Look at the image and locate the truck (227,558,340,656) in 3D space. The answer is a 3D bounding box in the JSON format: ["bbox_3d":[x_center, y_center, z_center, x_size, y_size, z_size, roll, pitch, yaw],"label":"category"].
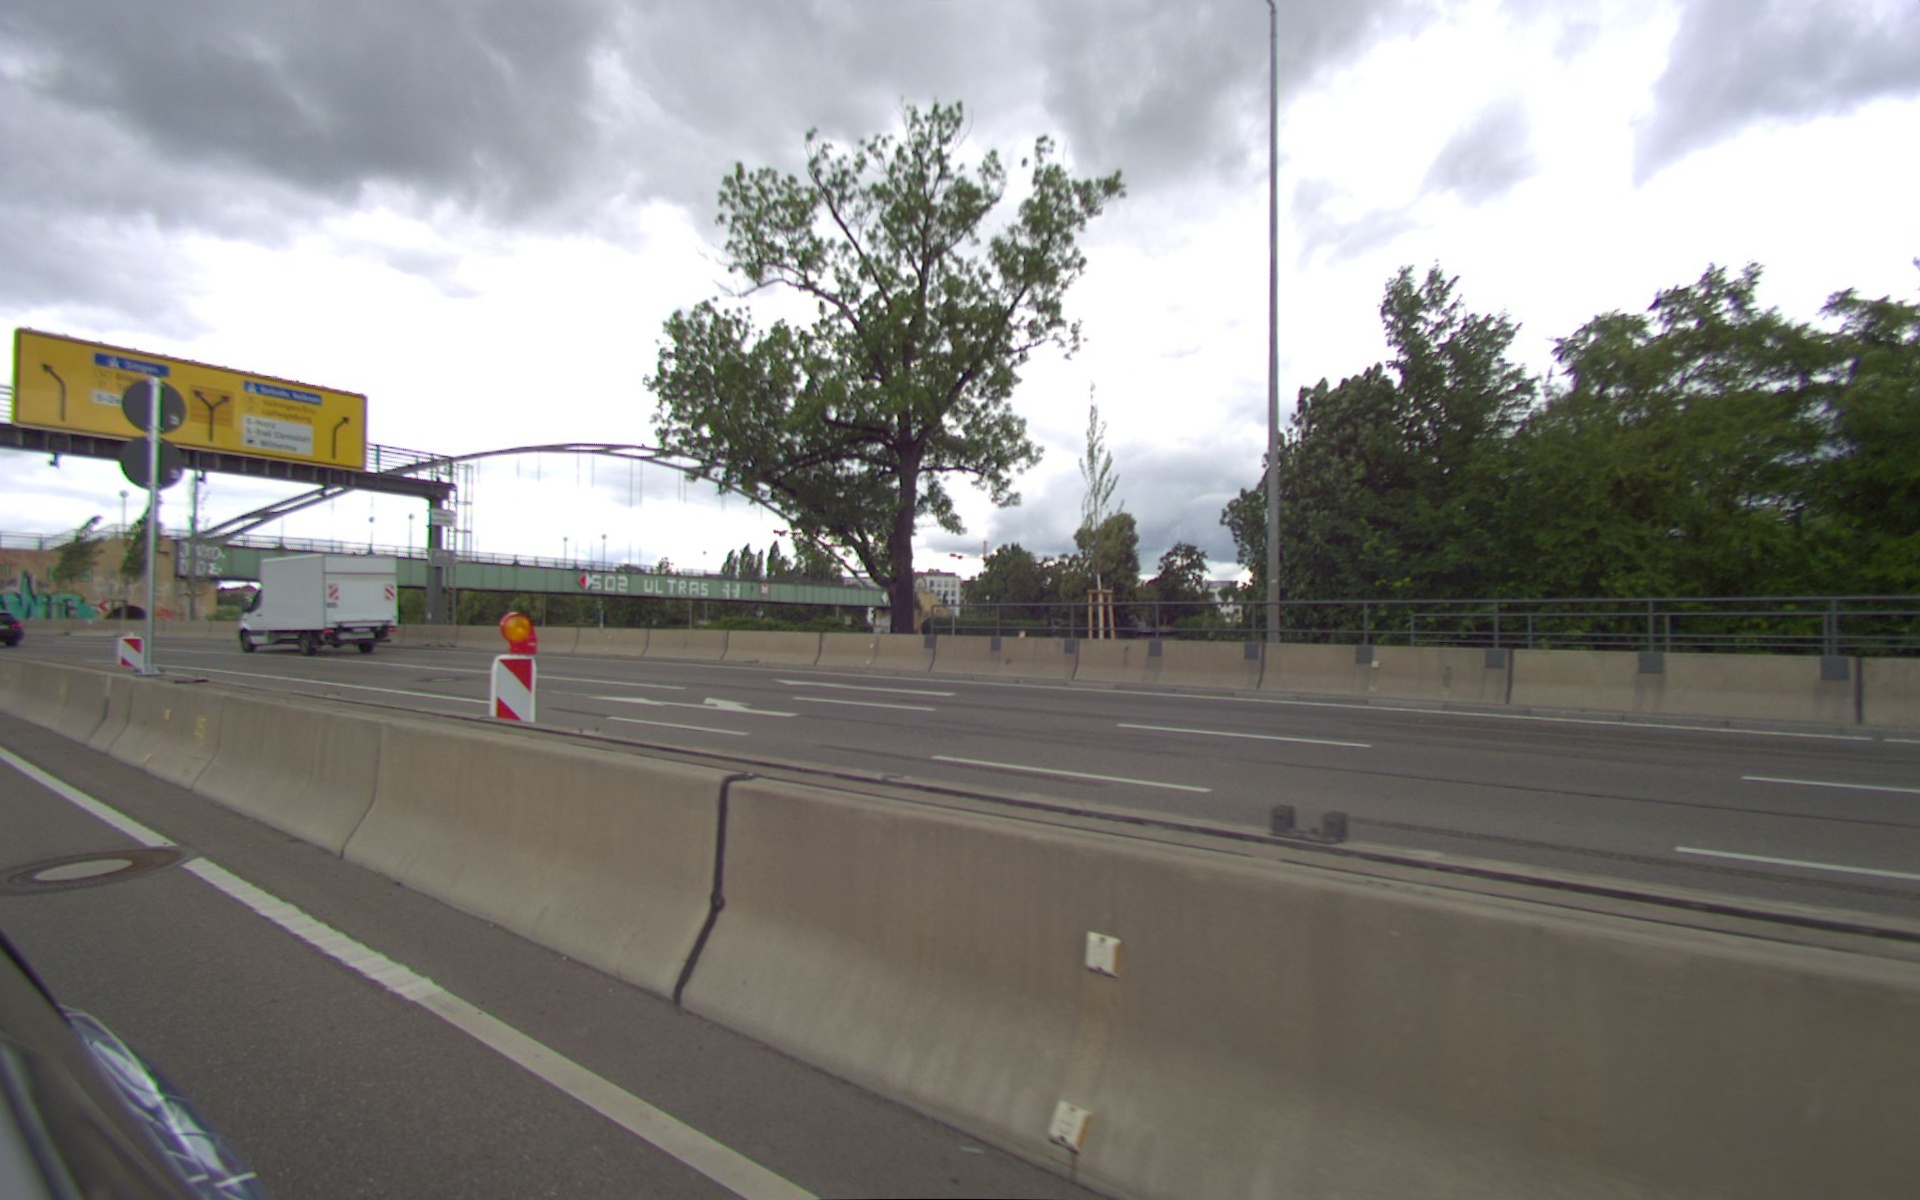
[{"bbox_3d":[-22.748,0.224,34.020,2.981,3.137,2.252,-1,0,36],"label":"truck"}]

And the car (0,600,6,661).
[{"bbox_3d":[-31.552,0.952,31.121,4.935,1.819,1.888,-1,-2,30],"label":"car"}]

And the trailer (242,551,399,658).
[{"bbox_3d":[-20.618,0.151,32.547,5.698,3.161,2.253,-1,0,35],"label":"trailer"}]
